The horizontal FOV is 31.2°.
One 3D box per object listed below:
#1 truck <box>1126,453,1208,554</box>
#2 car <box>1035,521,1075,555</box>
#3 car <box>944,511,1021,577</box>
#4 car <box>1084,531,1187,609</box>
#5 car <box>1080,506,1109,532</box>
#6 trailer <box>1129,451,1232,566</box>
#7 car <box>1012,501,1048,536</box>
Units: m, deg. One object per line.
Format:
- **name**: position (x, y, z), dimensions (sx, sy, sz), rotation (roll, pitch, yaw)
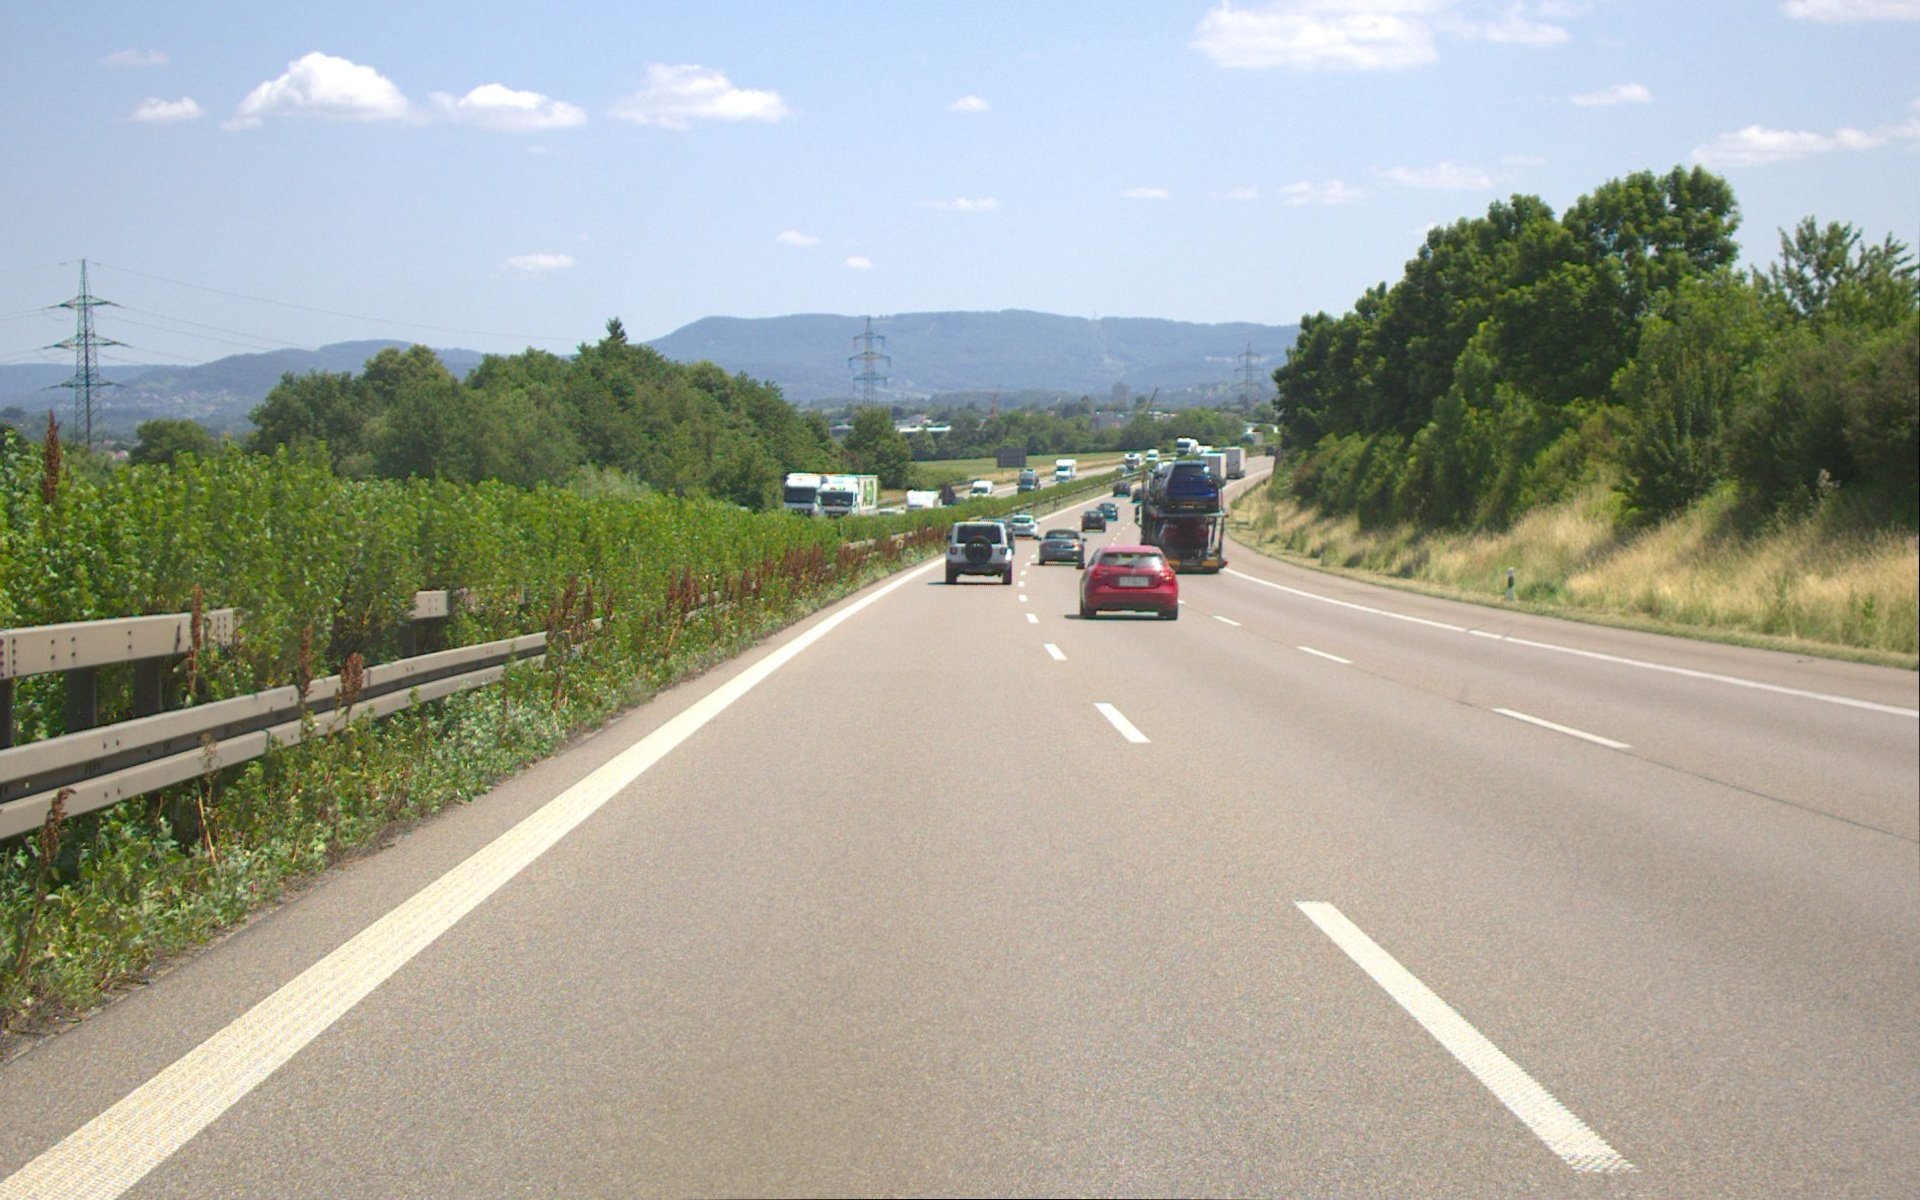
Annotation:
- **truck**: position (8.135, -3.853, 135.725), dimensions (2.754, 3.839, 6.645), rotation (1, 2, 0)
- **car**: position (3.727, -2.464, 135.723), dimensions (1.452, 1.263, 3.539), rotation (1, 2, 0)
- **car**: position (0.640, -1.674, 101.401), dimensions (2.083, 1.823, 4.754), rotation (1, 2, -2)
- **car**: position (3.353, -0.603, 66.365), dimensions (1.686, 1.374, 3.949), rotation (1, 2, -1)
- **car**: position (9.044, -5.458, 231.261), dimensions (1.636, 1.699, 3.400), rotation (1, 2, 7)
- **trailer**: position (8.105, -3.506, 128.138), dimensions (2.855, 3.979, 15.398), rotation (1, 2, 0)
- **car**: position (4.183, -4.864, 204.390), dimensions (1.698, 2.006, 3.821), rotation (1, 2, 7)
